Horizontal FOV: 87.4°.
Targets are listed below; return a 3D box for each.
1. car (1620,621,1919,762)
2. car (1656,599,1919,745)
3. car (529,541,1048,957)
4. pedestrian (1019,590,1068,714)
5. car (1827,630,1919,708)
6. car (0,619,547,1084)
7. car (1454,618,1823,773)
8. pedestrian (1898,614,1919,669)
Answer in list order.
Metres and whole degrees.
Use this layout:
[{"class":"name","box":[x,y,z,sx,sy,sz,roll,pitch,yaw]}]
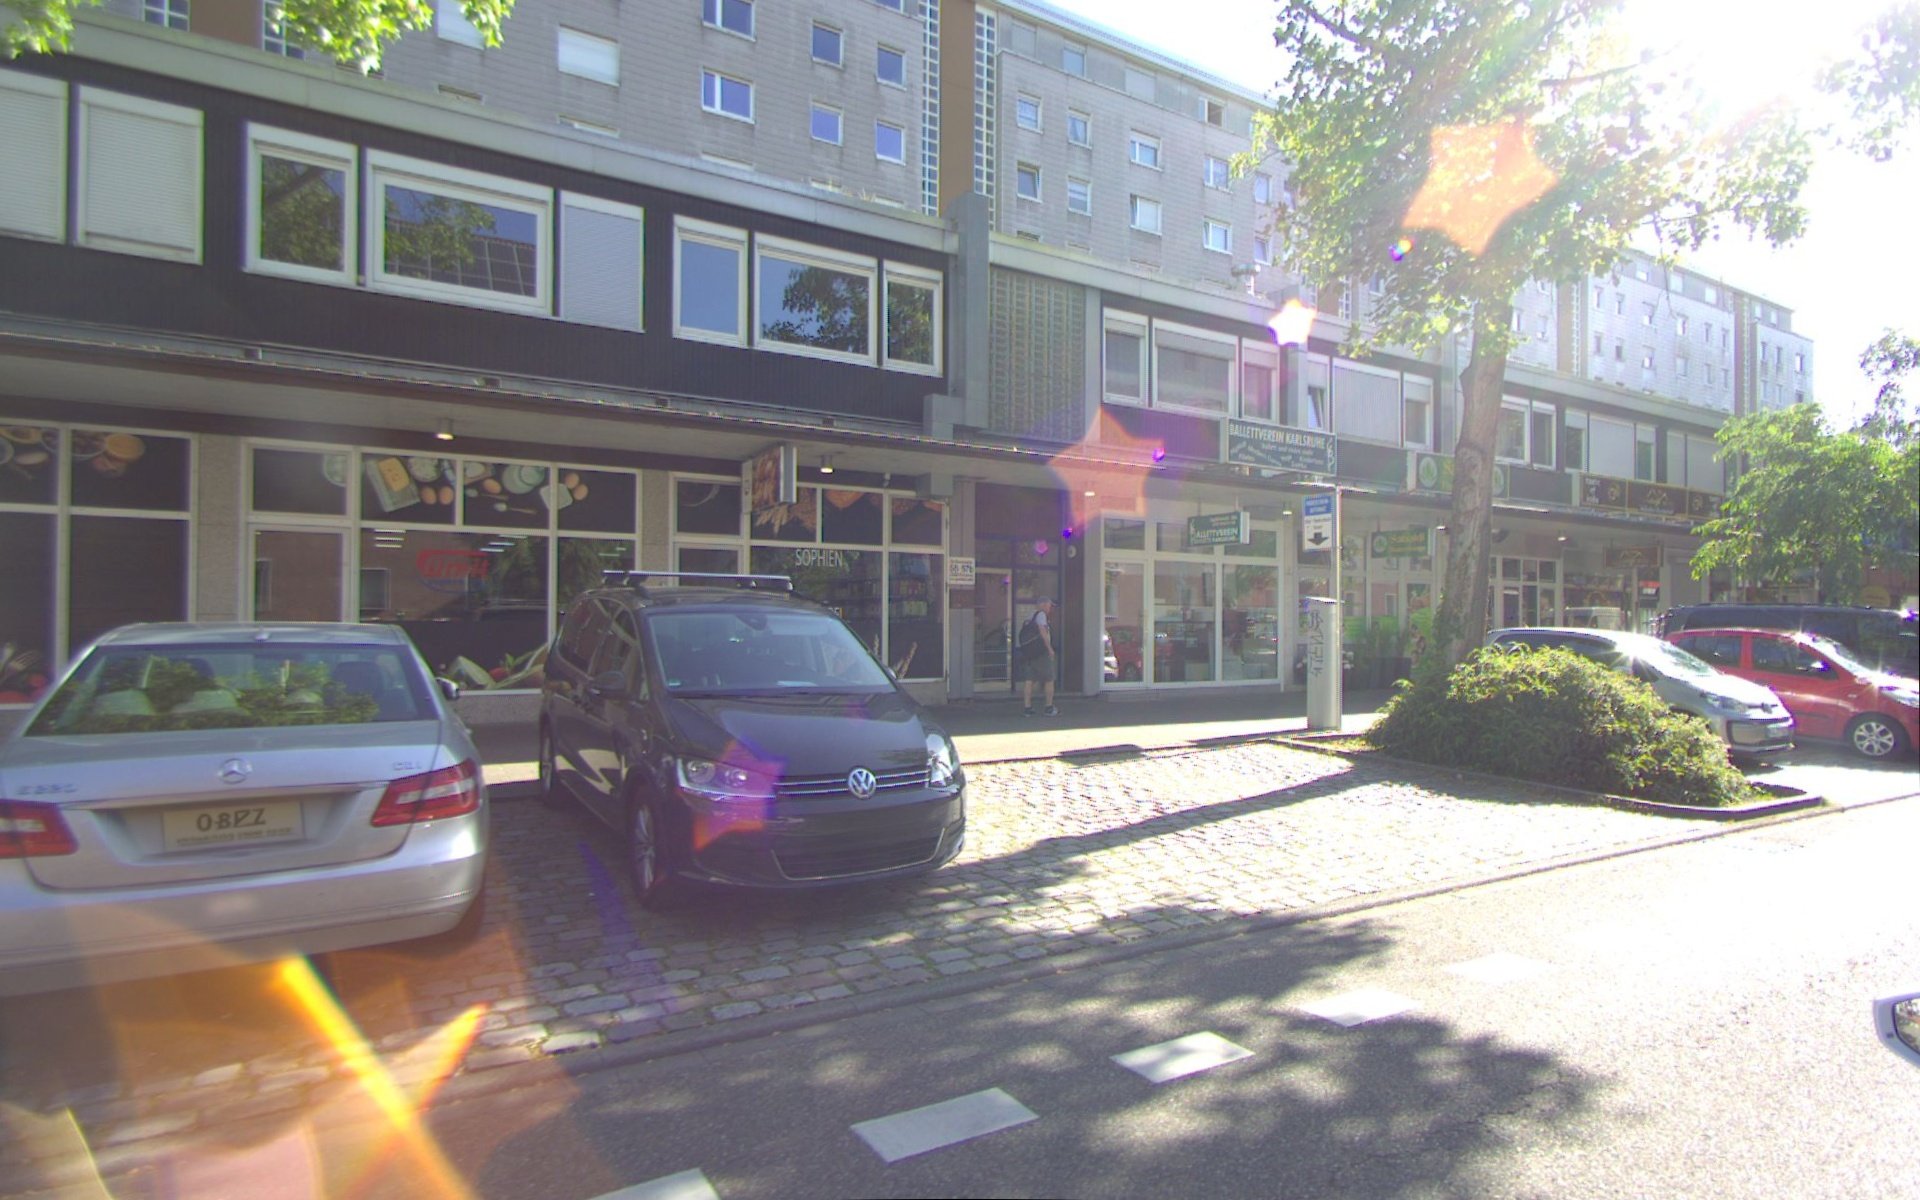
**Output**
[{"class":"car","box":[11.295,1.125,13.631,1.642,1.575,3.539,1,0,-31]},{"class":"car","box":[13.622,1.016,14.986,1.851,1.964,5.005,1,0,-31]},{"class":"car","box":[-1.569,0.639,6.867,1.853,1.801,4.742,1,0,-32]},{"class":"pedestrian","box":[1.161,0.704,14.035,0.526,1.688,0.441,-1,1,-30]},{"class":"car","box":[19.821,1.397,19.720,1.690,1.470,3.898,1,0,-31]},{"class":"car","box":[-3.404,0.820,5.166,1.740,1.417,3.965,1,-1,-32]},{"class":"car","box":[8.429,1.082,12.840,1.649,1.582,3.577,1,0,-24]},{"class":"pedestrian","box":[31.418,1.358,33.212,0.423,1.806,0.482,1,-1,-33]}]
